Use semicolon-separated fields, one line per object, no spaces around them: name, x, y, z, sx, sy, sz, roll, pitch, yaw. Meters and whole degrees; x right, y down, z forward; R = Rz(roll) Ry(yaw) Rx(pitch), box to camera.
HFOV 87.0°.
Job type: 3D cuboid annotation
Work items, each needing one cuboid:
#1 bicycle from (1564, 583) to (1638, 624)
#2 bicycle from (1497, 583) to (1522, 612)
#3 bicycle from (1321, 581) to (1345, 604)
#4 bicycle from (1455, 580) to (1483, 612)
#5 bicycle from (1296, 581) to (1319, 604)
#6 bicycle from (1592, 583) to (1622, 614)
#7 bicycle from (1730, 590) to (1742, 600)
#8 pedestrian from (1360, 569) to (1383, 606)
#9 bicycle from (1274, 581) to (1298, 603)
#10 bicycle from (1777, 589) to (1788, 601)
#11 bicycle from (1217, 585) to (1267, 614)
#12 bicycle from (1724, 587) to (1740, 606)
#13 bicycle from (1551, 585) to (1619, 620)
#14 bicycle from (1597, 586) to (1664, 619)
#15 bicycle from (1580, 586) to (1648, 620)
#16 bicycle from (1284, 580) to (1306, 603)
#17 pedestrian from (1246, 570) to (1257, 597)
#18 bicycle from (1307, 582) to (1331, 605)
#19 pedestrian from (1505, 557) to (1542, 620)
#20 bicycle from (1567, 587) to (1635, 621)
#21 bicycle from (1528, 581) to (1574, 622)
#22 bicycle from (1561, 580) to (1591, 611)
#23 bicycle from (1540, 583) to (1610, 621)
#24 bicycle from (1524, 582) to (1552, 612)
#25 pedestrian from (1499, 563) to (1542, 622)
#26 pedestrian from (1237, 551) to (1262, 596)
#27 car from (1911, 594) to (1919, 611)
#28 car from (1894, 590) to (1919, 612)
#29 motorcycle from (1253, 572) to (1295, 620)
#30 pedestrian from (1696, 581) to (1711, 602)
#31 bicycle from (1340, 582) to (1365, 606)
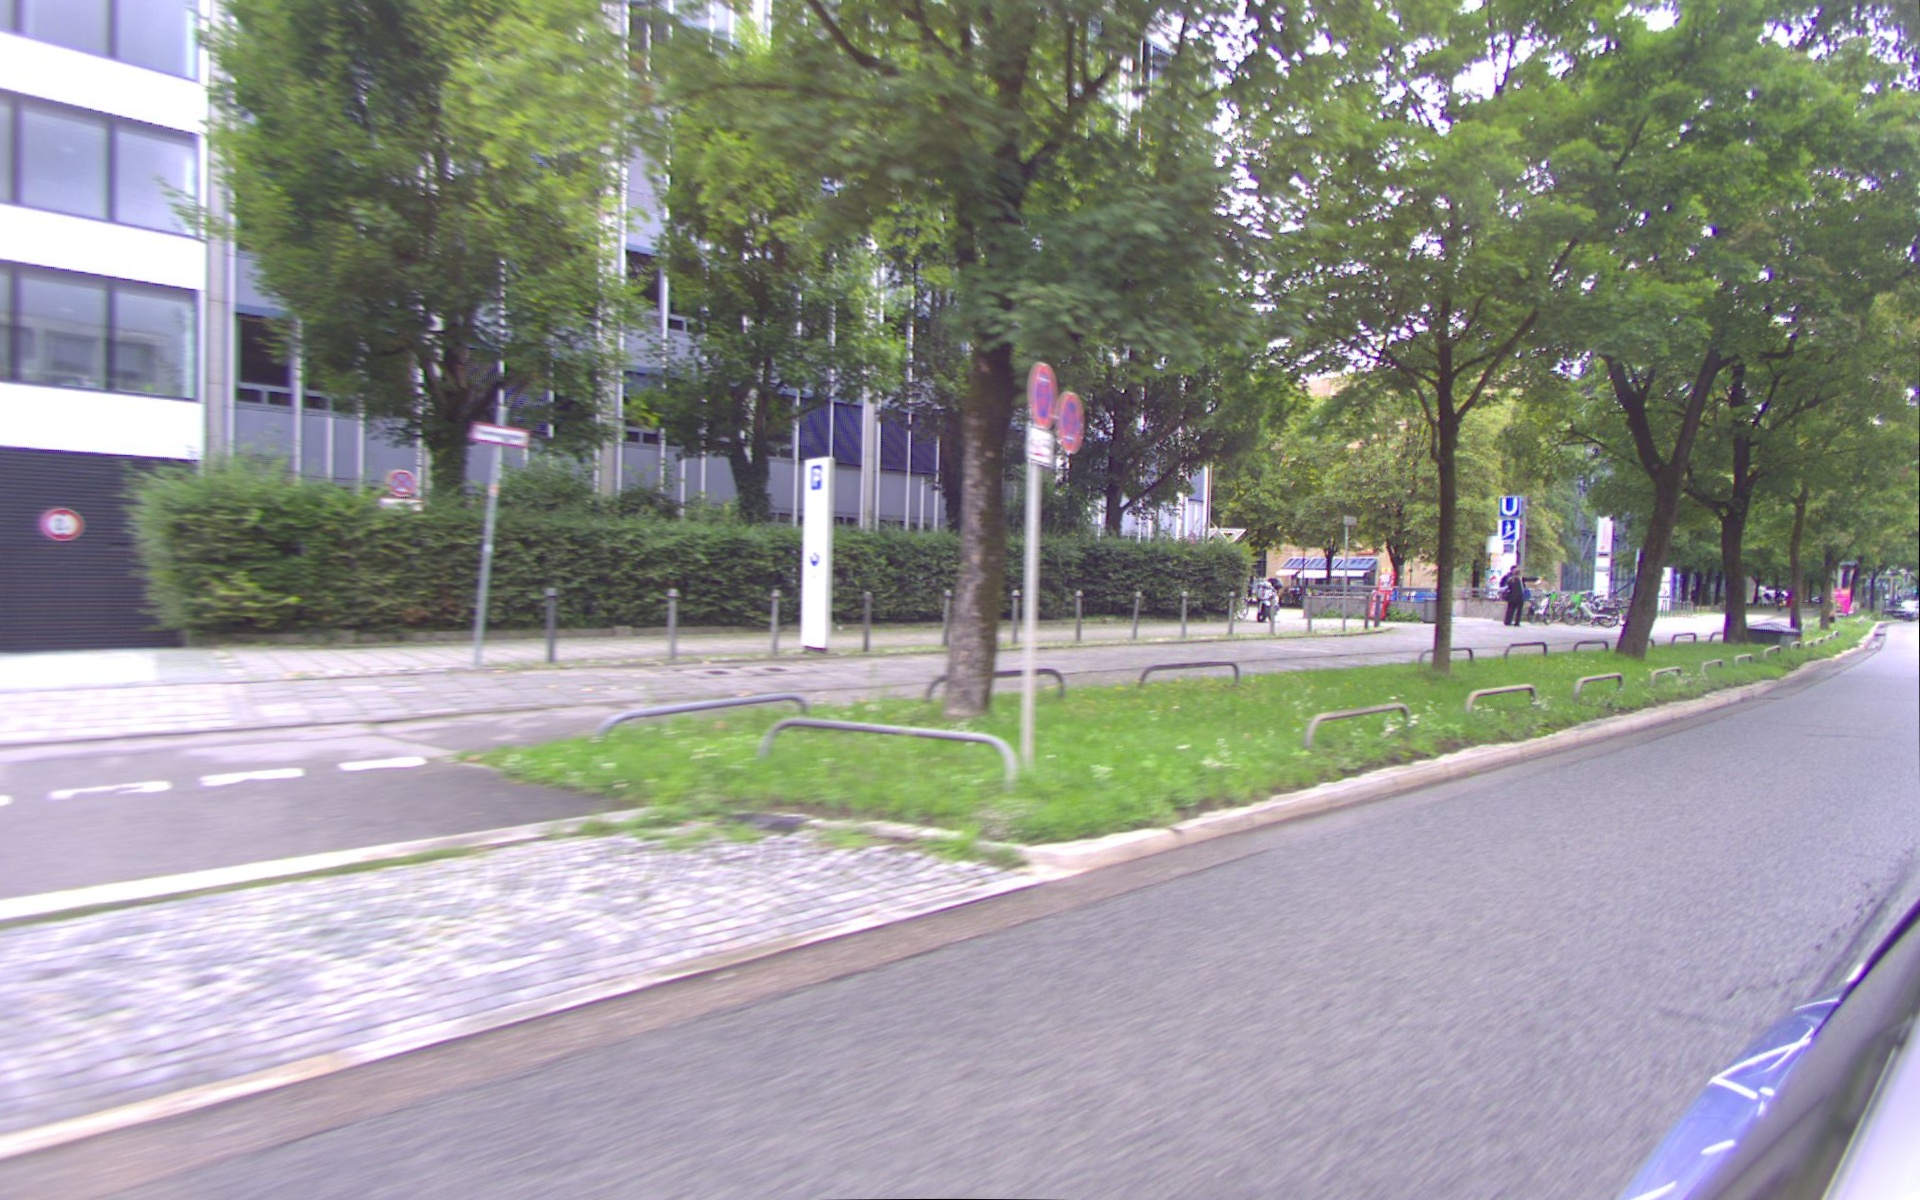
bicycle;21.764;0.107;34.407;1.928;1.203;0.594;5;2;17
bicycle;23.532;-0.120;43.309;0.510;1.203;2.111;2;2;39
bicycle;20.857;-0.411;56.573;0.507;1.276;2.144;2;2;39
bicycle;21.972;-0.174;43.689;0.507;1.310;2.443;2;2;39
bicycle;19.740;-0.406;57.464;0.507;1.276;1.993;2;2;39
bicycle;25.586;-0.051;40.008;1.921;1.203;0.488;0;2;-43
bicycle;77.354;-0.494;100.831;2.029;0.952;0.571;-1;2;-42
pedestrian;20.352;-0.597;50.070;0.754;1.794;0.690;1;1;-29
bicycle;18.853;-0.466;58.460;0.551;1.276;2.144;2;2;39
bicycle;80.965;-0.502;99.591;2.105;1.207;0.512;-1;2;-42
bicycle;8.992;-0.021;32.234;1.804;0.864;0.683;2;1;-44
bicycle;51.703;-0.227;67.786;0.620;1.265;1.890;3;2;43
bicycle;22.334;0.081;36.193;1.921;1.096;0.596;4;1;6
bicycle;25.607;0.076;38.657;1.996;1.112;0.580;3;4;6
bicycle;24.326;0.102;37.663;2.005;1.102;0.604;3;4;6
bicycle;19.213;-0.478;57.953;0.507;1.276;1.926;2;2;39
pedestrian;16.207;-0.927;56.337;0.386;1.510;0.385;1;1;-32
bicycle;20.280;-0.371;57.158;0.507;1.276;2.144;2;2;39
pedestrian;17.451;-0.366;31.337;0.734;1.923;0.654;1;1;-27
bicycle;23.371;0.151;36.921;1.921;1.078;0.580;4;3;6
bicycle;19.252;0.046;32.964;1.826;1.241;0.532;3;2;-36
bicycle;24.846;-0.174;40.822;1.921;1.203;0.488;0;2;-43
bicycle;21.484;0.051;35.355;1.921;1.122;0.579;5;2;6
bicycle;24.038;-0.112;42.072;1.921;1.203;0.446;0;2;-43
pedestrian;16.887;-0.227;30.496;0.735;1.735;0.787;1;1;-26
pedestrian;11.318;-1.037;39.625;0.685;1.699;0.654;1;1;-7
car;79.824;0.230;83.434;4.122;1.398;1.626;0;3;-42
car;72.657;0.074;77.021;4.525;1.610;1.864;0;2;-43
motorcycle;9.225;-0.125;29.688;0.547;1.335;2.048;2;2;35
pedestrian;61.271;-0.708;83.410;0.632;1.665;0.740;0;3;-33
bicycle;21.532;-0.355;55.504;0.606;1.276;2.024;2;2;42
